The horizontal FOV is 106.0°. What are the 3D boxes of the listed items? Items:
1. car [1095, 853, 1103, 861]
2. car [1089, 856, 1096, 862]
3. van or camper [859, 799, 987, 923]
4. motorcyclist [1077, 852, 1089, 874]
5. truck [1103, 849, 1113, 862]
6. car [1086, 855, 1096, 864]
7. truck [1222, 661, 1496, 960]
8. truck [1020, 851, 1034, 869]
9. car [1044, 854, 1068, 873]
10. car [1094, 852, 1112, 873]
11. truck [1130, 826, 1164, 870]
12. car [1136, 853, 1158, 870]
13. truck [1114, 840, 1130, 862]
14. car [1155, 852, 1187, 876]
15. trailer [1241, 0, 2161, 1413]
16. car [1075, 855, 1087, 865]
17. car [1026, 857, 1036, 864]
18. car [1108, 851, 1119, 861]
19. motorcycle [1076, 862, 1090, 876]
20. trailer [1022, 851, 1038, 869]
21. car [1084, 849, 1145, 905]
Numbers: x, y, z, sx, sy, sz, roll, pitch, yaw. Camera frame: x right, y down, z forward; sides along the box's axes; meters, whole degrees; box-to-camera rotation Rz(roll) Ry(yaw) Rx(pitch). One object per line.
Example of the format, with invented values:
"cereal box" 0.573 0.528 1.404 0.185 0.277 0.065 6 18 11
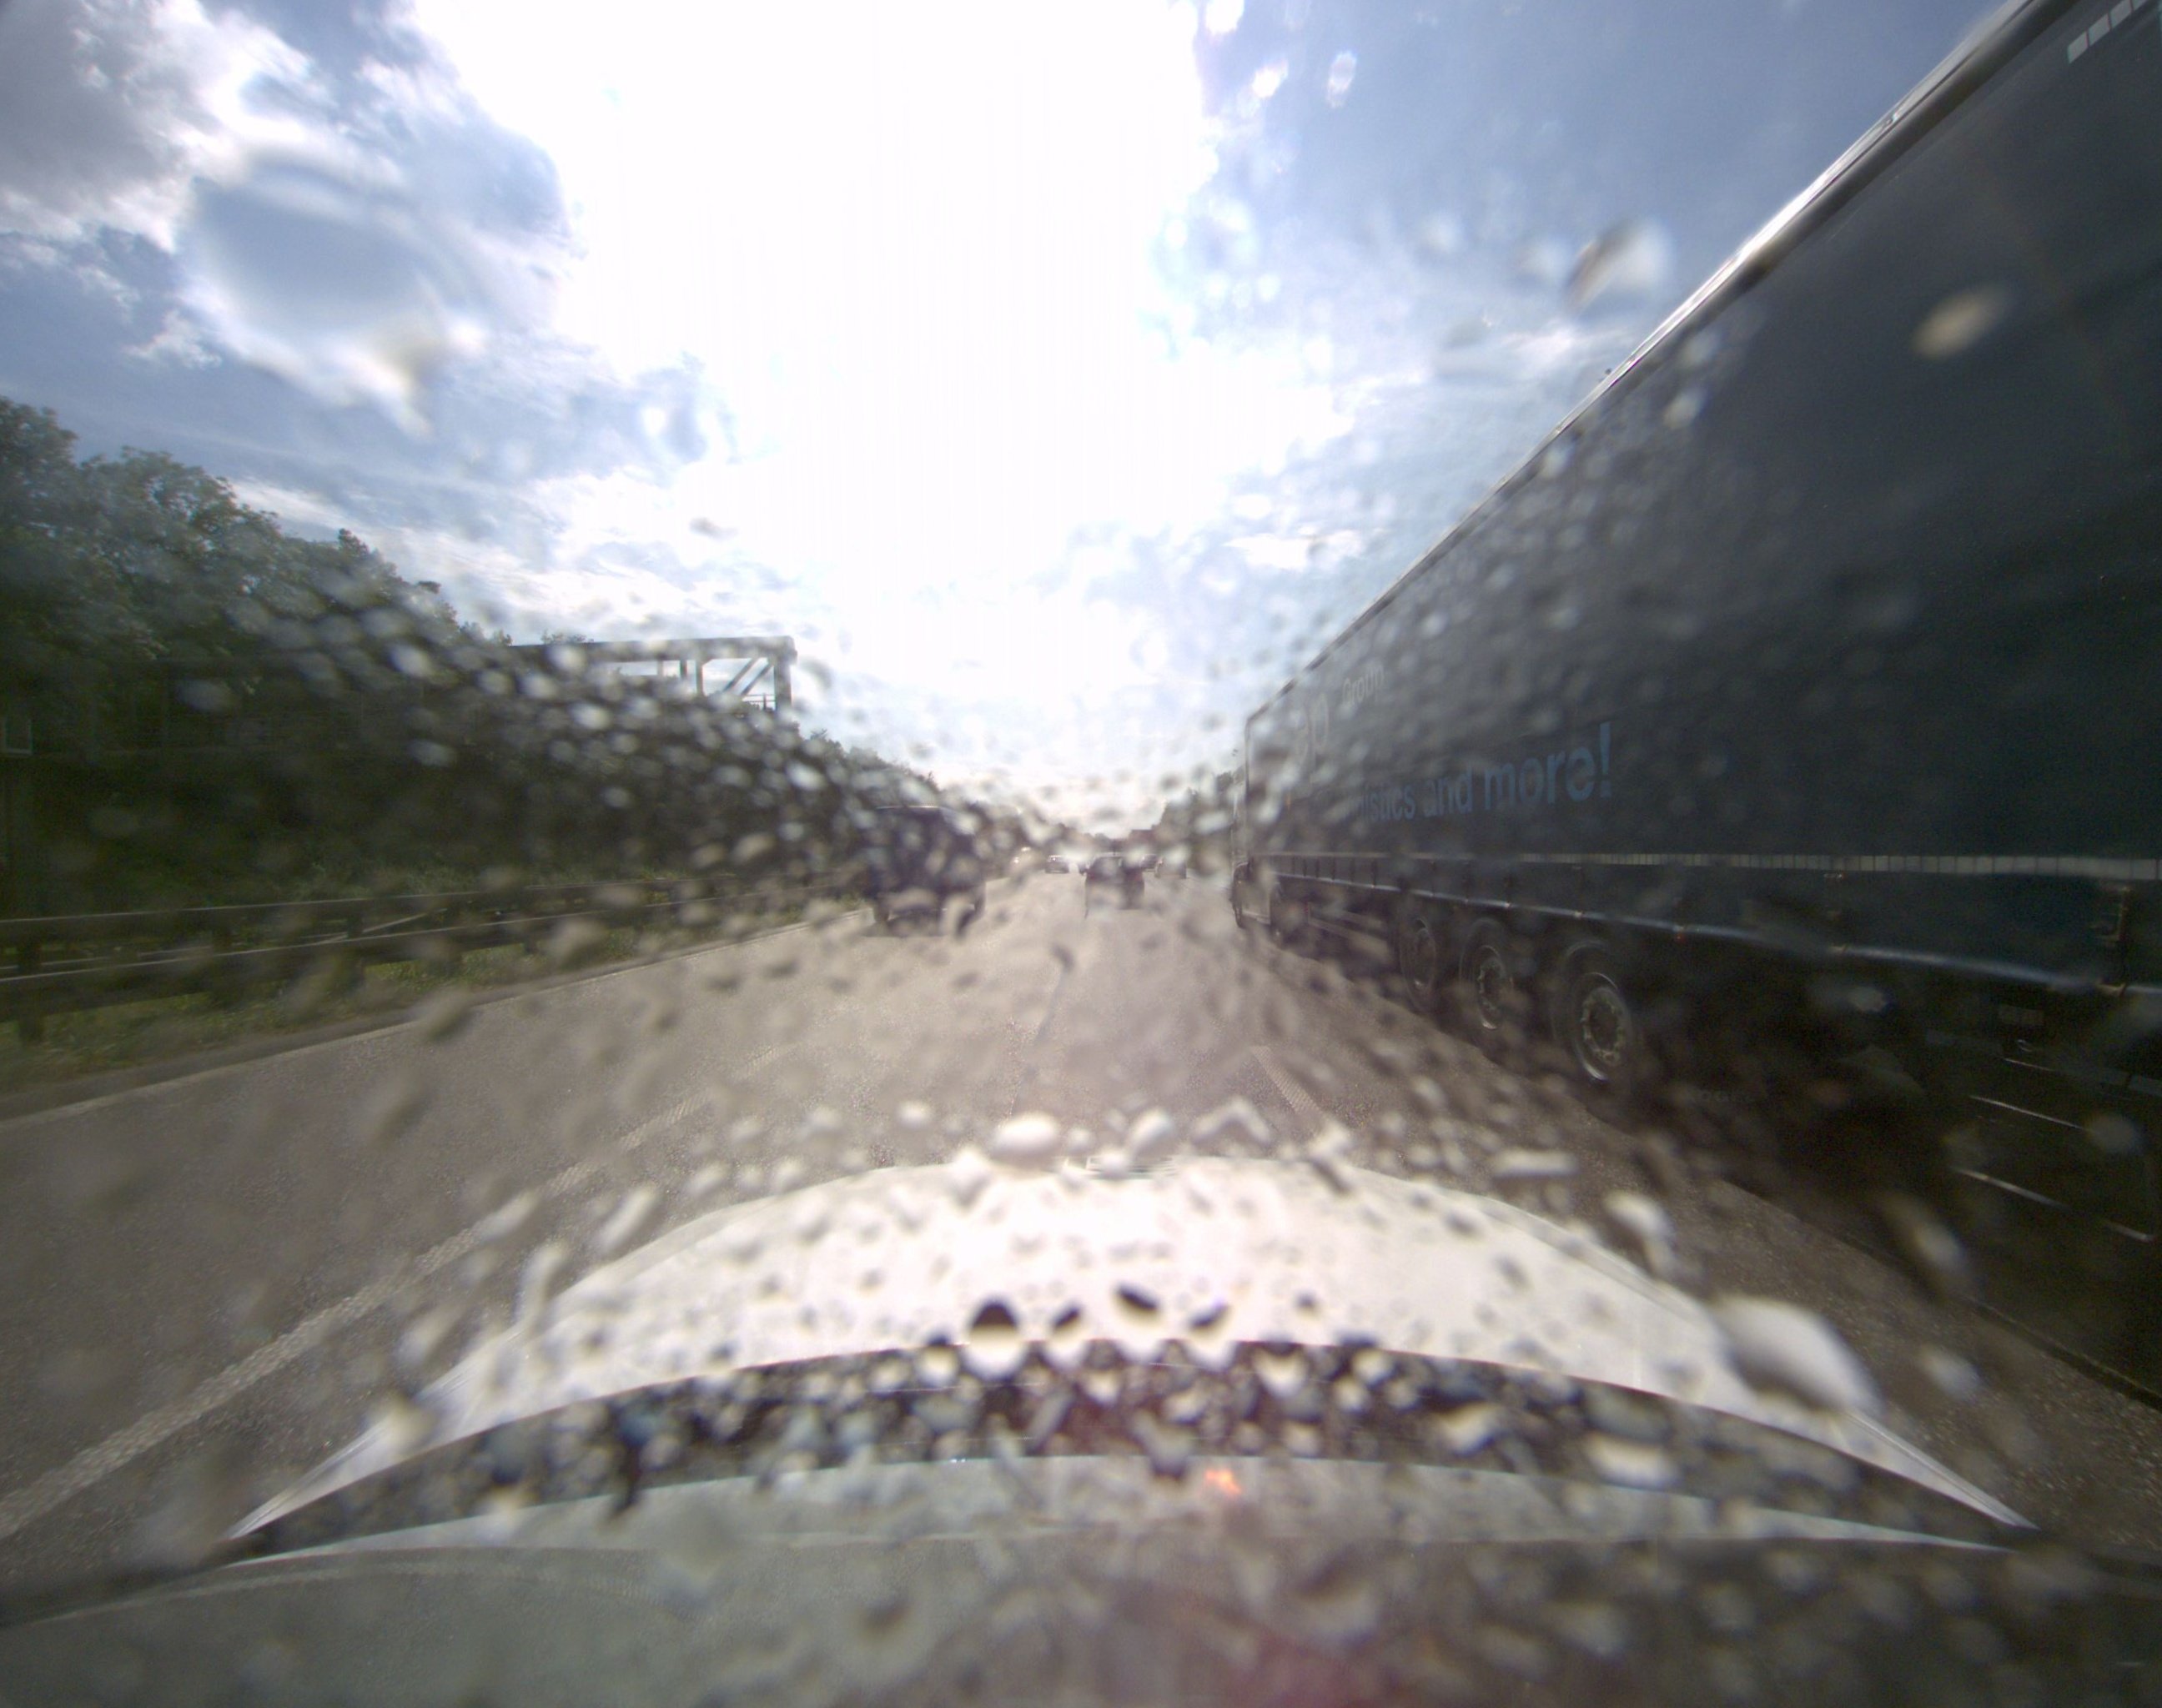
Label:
"car" 4.847 0.756 216.474 1.986 2.013 4.002 -2 0 2
"car" 2.427 1.043 175.782 1.479 1.390 3.199 0 0 2
"van or camper" -3.732 0.173 20.324 1.986 2.669 5.387 0 0 2
"motorcyclist" 0.162 0.679 60.100 0.799 1.633 1.013 0 -1 1
"truck" 5.927 0.279 180.086 2.184 2.875 4.851 0 0 2
"car" 1.767 1.010 149.583 1.745 1.457 3.391 0 0 2
"truck" 4.368 -0.566 14.592 2.597 3.996 7.293 0 0 2
"truck" -13.370 1.435 203.478 2.852 4.373 6.871 0 0 2
"car" -2.109 0.777 69.681 1.848 1.551 3.486 0 0 2
"car" 1.870 0.701 68.980 1.526 1.746 3.486 0 0 2
"truck" 7.670 -0.575 96.348 3.634 4.720 16.794 0 0 4
"car" 5.823 0.638 72.146 1.674 1.442 3.906 0 0 2
"truck" 8.774 -0.660 173.444 3.242 4.479 12.432 0 0 4
"car" 5.621 0.615 51.230 1.686 1.425 4.221 0 0 2
"trailer" 4.155 -0.604 8.526 2.624 3.996 14.070 0 0 2
"car" 0.016 0.862 122.971 1.745 1.457 3.391 0 0 2
"car" -11.268 1.420 183.167 1.822 1.663 4.632 0 0 2
"car" 4.569 0.240 116.387 1.547 1.383 3.211 0 0 2
"motorcycle" 0.169 1.075 59.974 0.887 1.000 2.897 0 0 2
"trailer" -13.160 1.473 210.035 2.852 4.373 14.097 0 0 2
"car" 1.011 0.669 24.870 1.711 1.568 3.486 0 0 2
